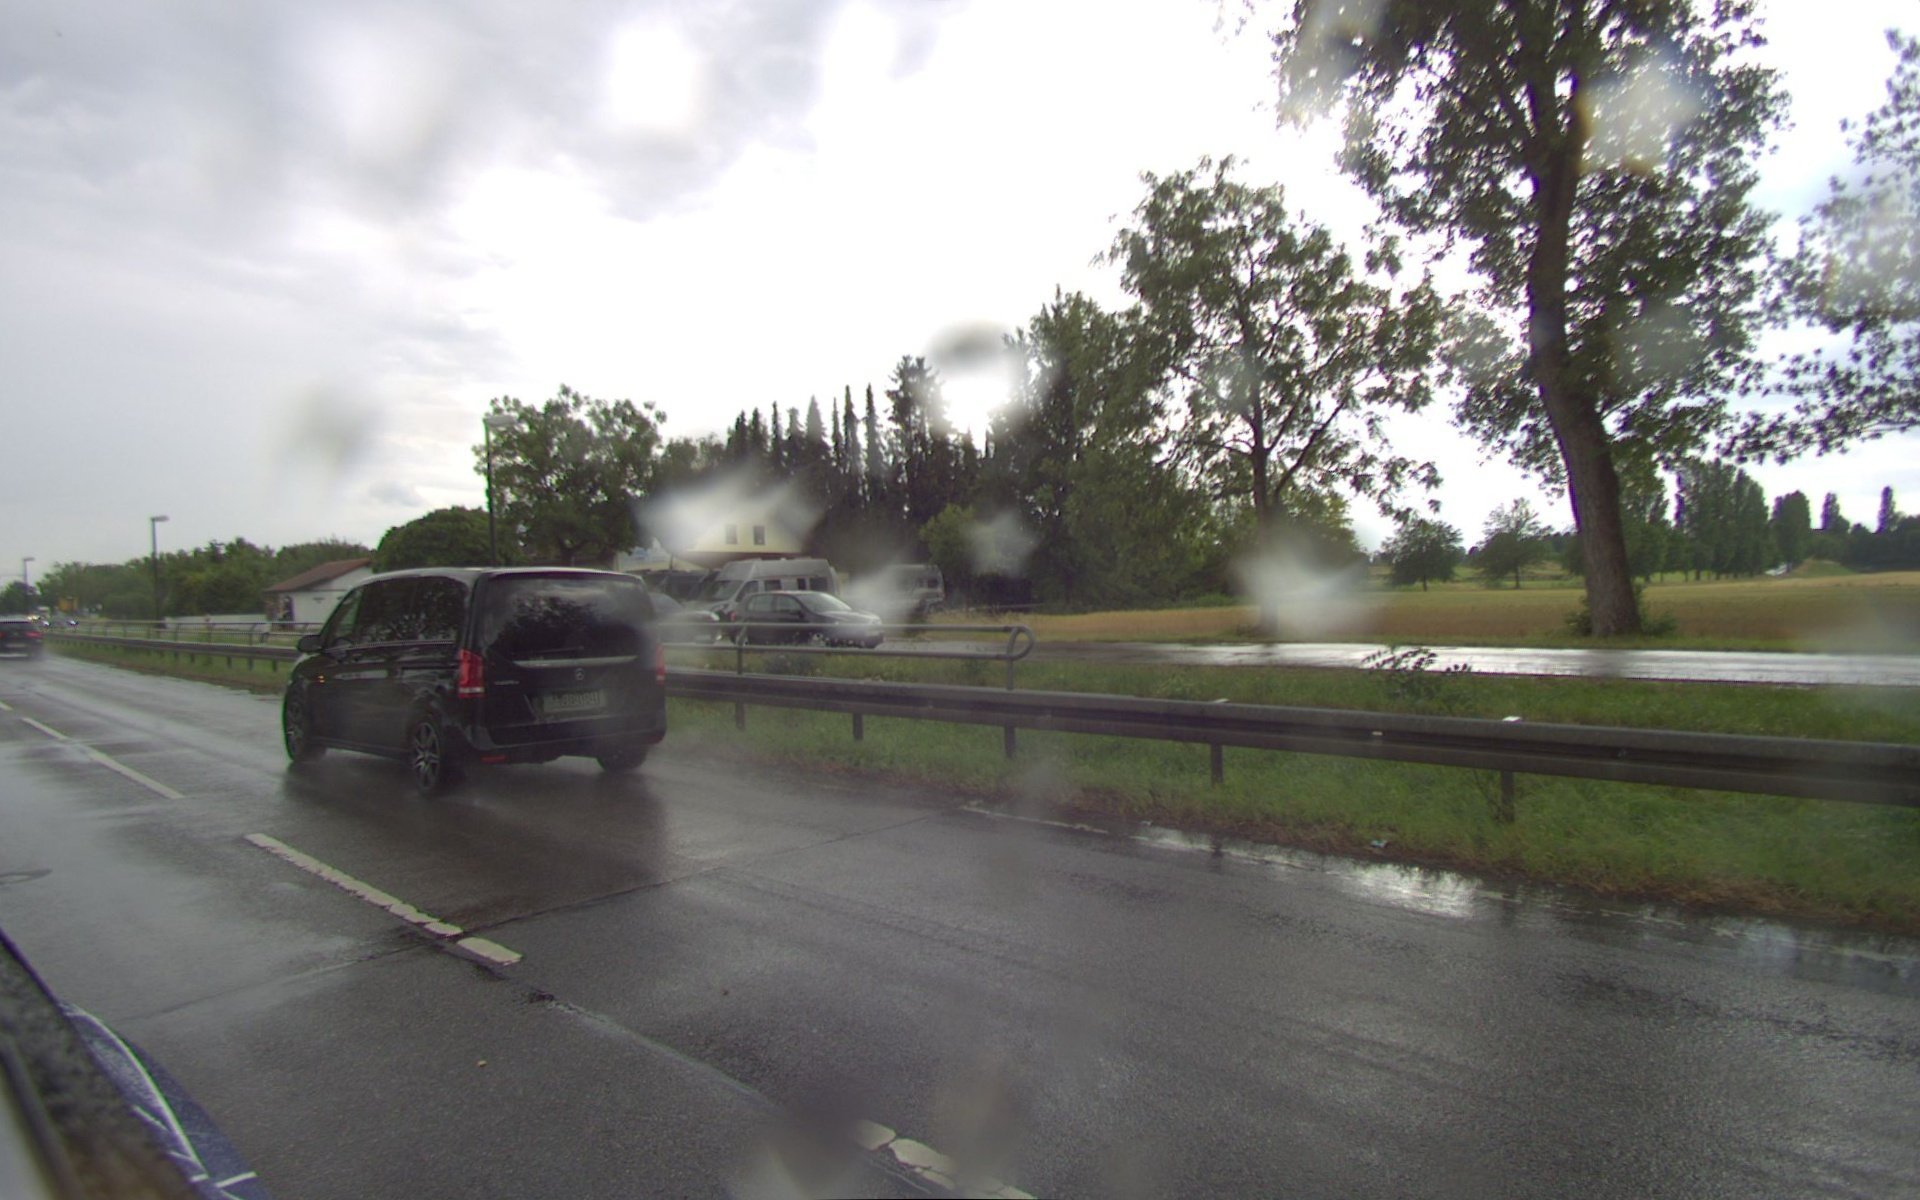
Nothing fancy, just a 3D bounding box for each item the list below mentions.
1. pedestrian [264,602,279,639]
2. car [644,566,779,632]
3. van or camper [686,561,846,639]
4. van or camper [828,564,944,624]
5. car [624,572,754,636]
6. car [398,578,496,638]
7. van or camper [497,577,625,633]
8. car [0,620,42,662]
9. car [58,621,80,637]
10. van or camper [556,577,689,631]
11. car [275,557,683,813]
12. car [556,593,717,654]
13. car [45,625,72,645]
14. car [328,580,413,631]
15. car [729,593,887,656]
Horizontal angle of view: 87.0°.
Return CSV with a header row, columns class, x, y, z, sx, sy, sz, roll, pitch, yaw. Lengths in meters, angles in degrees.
class,x,y,z,sx,sy,sz,roll,pitch,yaw
pedestrian,-32.608,0.990,47.923,0.509,1.723,0.651,-2,0,-40
car,-9.847,-0.085,40.525,1.998,2.477,5.043,-2,1,39
van or camper,-7.144,-0.065,37.898,2.080,2.697,5.816,-2,1,40
van or camper,-3.338,-0.308,46.940,1.997,2.609,5.749,-2,1,38
car,-11.505,0.130,43.232,1.998,2.520,5.132,-2,1,39
car,-25.133,0.400,49.474,5.571,2.783,2.358,-1,0,42
van or camper,-21.550,0.236,54.878,2.432,2.822,5.992,-2,1,40
car,-34.984,1.482,36.981,4.109,1.462,1.696,-1,-1,41
car,-119.732,3.863,136.035,3.710,2.029,1.688,-1,1,41
van or camper,-17.632,0.166,53.215,2.560,2.611,6.161,-2,1,40
car,-4.592,0.649,9.343,4.412,1.816,1.809,-1,-1,41
car,-8.814,0.641,27.337,5.113,1.502,1.501,-2,-1,37
car,-97.779,3.802,109.761,3.998,2.029,1.661,-1,-1,41
car,-32.245,0.344,55.308,6.017,2.600,2.214,-1,0,42
car,-3.556,0.564,23.342,3.892,1.341,1.271,-2,-1,37
